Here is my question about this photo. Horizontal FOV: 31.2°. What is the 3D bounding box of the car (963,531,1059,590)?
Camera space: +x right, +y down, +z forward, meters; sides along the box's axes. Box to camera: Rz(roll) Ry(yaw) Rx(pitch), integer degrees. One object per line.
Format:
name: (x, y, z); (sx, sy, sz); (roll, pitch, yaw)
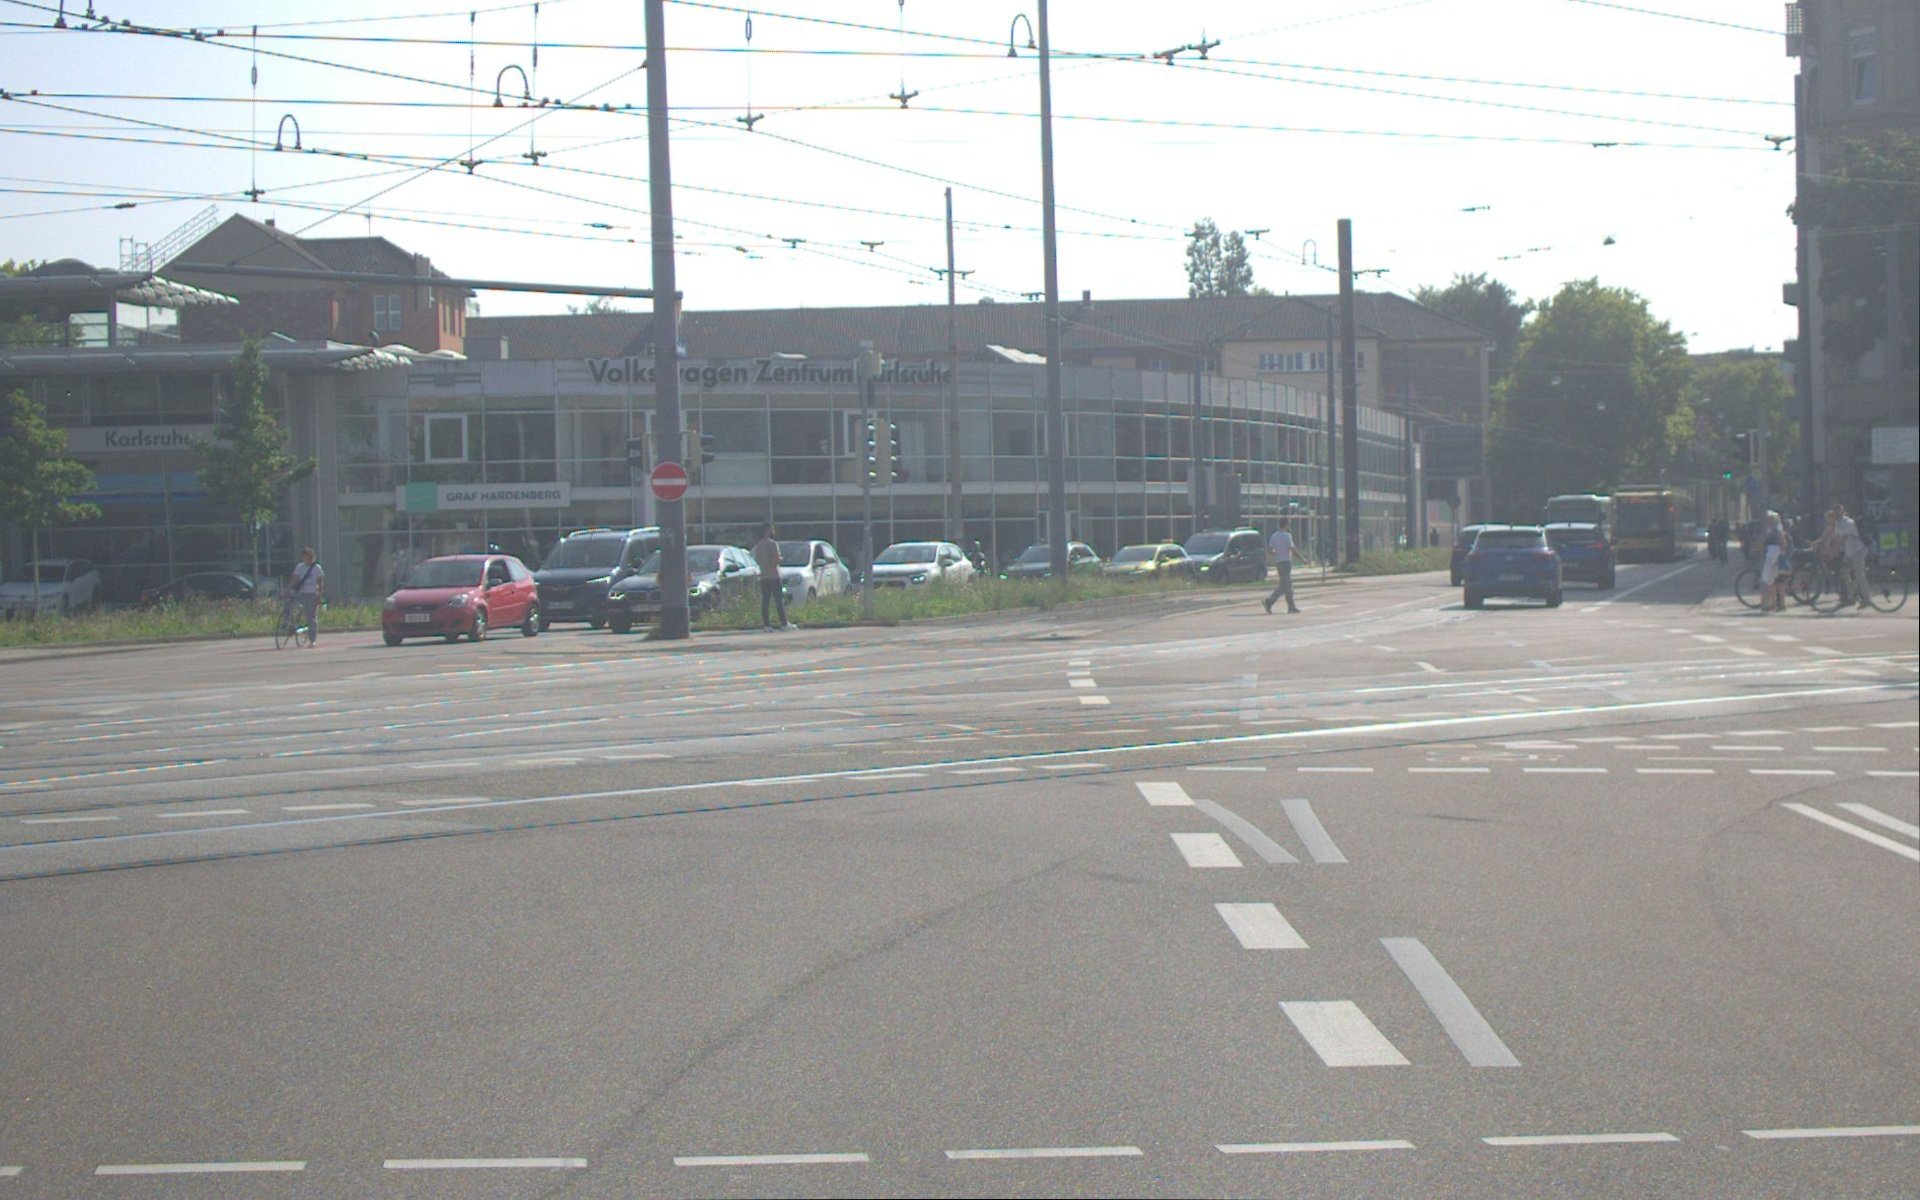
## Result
car: (1.381, -1.067, 91.260); (1.615, 1.470, 3.998); (-3, 0, 14)

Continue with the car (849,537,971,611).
car: (-1.066, -0.586, 75.122); (1.615, 1.470, 3.998); (-3, 0, 14)

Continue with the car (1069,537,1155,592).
car: (4.368, -1.030, 98.366); (1.615, 1.470, 3.998); (-3, 0, 14)

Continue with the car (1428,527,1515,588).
car: (13.663, -1.152, 91.714); (1.826, 1.530, 4.409); (-1, 1, 14)

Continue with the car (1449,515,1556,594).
car: (10.492, -0.894, 66.309); (1.826, 1.423, 4.410); (-1, 1, 11)

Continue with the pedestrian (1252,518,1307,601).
pedestrian: (5.854, -0.740, 63.006); (0.777, 1.498, 0.710); (-1, 1, -13)

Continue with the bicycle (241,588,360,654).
bicycle: (-11.184, 0.347, 58.373); (0.958, 1.053, 2.606); (-1, 1, 14)

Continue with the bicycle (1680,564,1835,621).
bicycle: (14.430, -0.144, 62.178); (2.618, 0.961, 1.093); (-2, 1, -26)

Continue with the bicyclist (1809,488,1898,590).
bicyclist: (15.139, -1.030, 58.269); (0.934, 1.702, 1.092); (-2, 1, -39)

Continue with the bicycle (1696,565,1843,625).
bicycle: (14.113, -0.098, 59.894); (2.619, 0.961, 1.093); (-2, 1, -39)

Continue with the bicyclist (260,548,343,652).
bicyclist: (-11.179, -0.002, 58.401); (0.958, 1.742, 1.165); (-1, 1, 14)

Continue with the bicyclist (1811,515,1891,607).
bicyclist: (16.508, -0.725, 63.705); (0.934, 1.674, 1.093); (-2, 1, -25)

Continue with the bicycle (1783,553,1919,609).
bicycle: (16.687, -0.364, 63.801); (2.618, 0.961, 1.093); (-2, 1, -26)

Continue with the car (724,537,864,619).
car: (-3.194, -0.442, 66.969); (1.615, 1.470, 3.998); (-3, 0, 13)

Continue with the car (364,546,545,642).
car: (-8.519, -0.126, 58.259); (1.615, 1.470, 3.998); (-3, 0, 13)

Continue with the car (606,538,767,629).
car: (-4.776, -0.314, 60.552); (1.615, 1.470, 3.998); (-3, 0, 13)

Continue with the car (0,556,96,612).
car: (-25.811, -0.475, 96.899); (1.699, 1.517, 4.099); (-1, 1, 2)

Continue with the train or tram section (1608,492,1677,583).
train or tram section: (29.129, -2.706, 146.962); (2.656, 3.686, 10.585); (-1, 1, 10)

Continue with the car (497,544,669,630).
car: (-7.126, -0.269, 65.431); (1.961, 1.470, 3.998); (-3, 0, 13)

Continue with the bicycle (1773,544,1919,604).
bicycle: (15.030, -0.449, 58.180); (2.619, 0.961, 1.093); (-2, 1, -39)

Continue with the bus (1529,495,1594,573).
bus: (29.597, -3.246, 169.588); (2.921, 3.606, 16.740); (-1, 1, 9)

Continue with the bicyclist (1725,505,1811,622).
bicyclist: (14.067, -0.639, 59.860); (0.934, 2.017, 1.092); (-2, 1, -39)

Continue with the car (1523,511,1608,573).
car: (14.720, -1.422, 83.437); (1.826, 1.423, 4.410); (-1, 1, 13)

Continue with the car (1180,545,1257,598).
car: (7.842, -0.865, 103.997); (1.615, 1.470, 3.998); (-3, 0, 14)

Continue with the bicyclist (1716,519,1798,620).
bicyclist: (14.409, -0.564, 62.161); (0.934, 1.793, 1.093); (-2, 1, -25)
